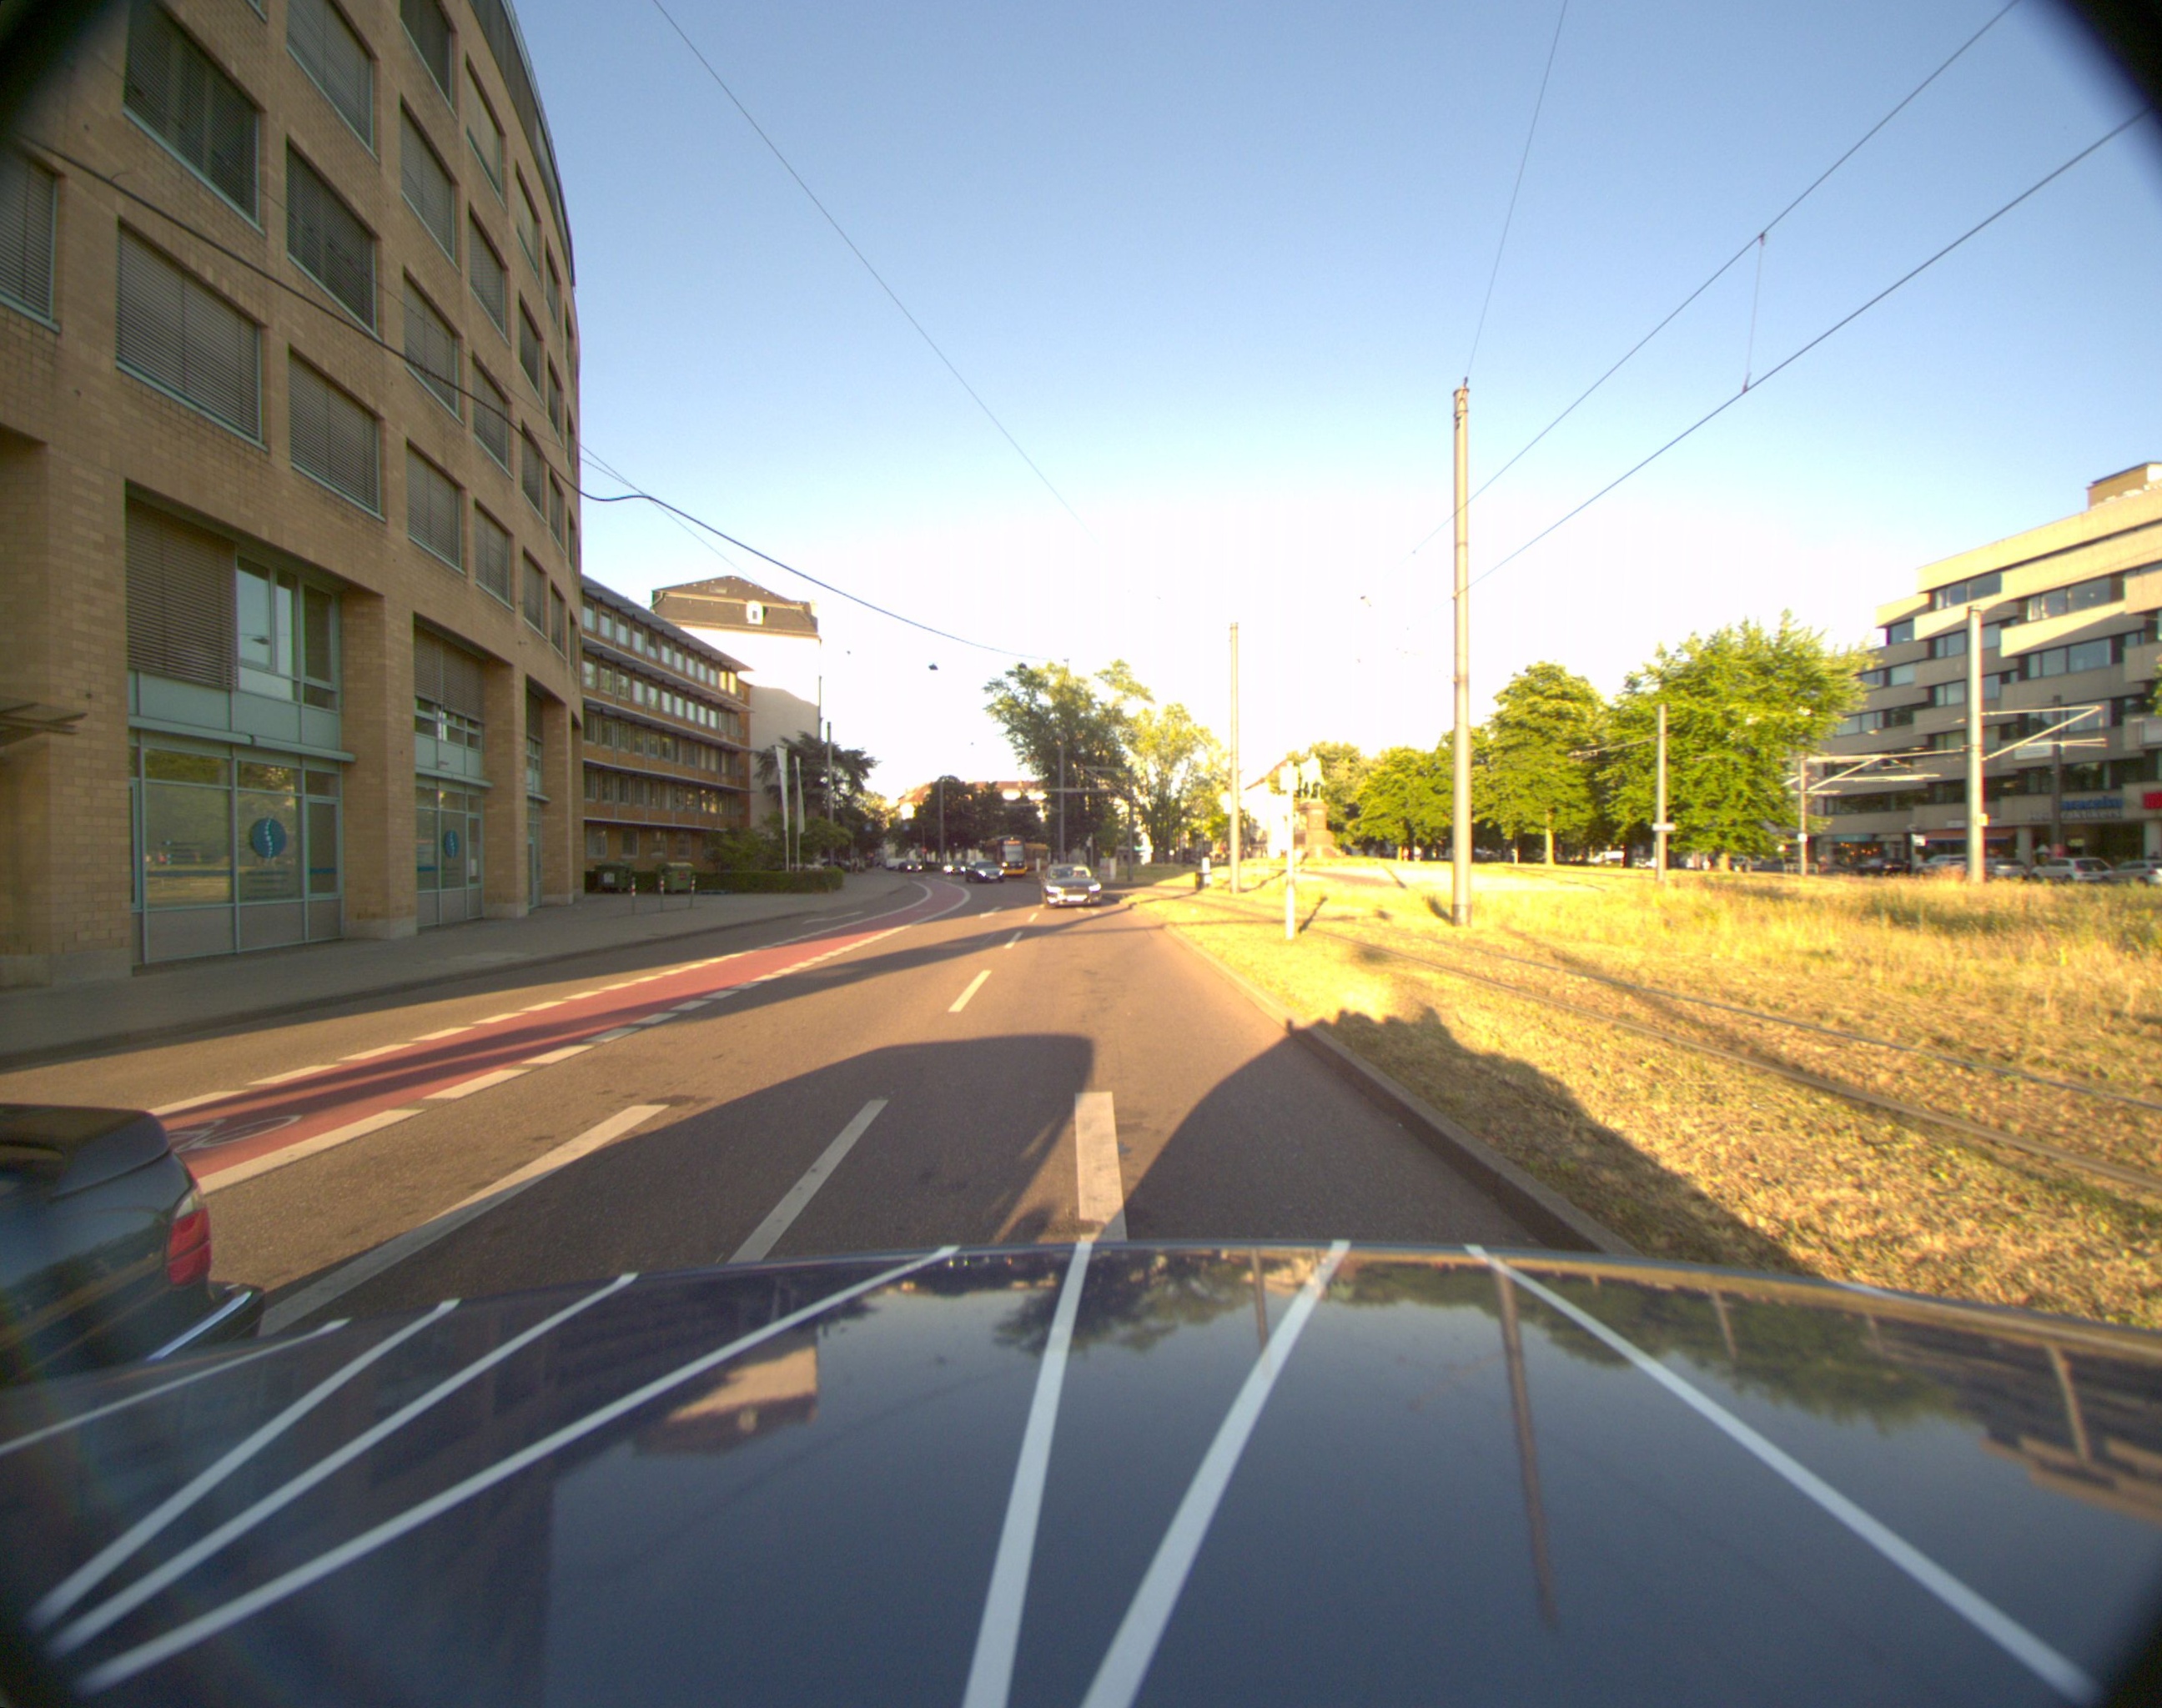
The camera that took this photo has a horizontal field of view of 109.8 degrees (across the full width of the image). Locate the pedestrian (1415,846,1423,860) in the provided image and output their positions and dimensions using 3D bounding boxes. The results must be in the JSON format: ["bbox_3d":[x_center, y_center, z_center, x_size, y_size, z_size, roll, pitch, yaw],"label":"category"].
[{"bbox_3d":[37.572,-0.072,84.397,0.619,1.571,0.553,0,-1,2],"label":"pedestrian"}]

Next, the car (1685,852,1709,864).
[{"bbox_3d":[83.915,0.522,103.541,1.793,1.570,4.008,-1,-1,27],"label":"car"}]

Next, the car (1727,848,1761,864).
[{"bbox_3d":[76.153,0.250,87.285,1.755,1.653,4.007,-1,-1,23],"label":"car"}]

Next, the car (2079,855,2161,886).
[{"bbox_3d":[54.124,0.850,39.068,1.755,1.542,4.008,-1,-1,26],"label":"car"}]

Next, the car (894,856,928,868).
[{"bbox_3d":[-28.244,1.293,126.227,5.078,1.891,2.122,0,-1,2],"label":"car"}]

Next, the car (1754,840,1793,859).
[{"bbox_3d":[72.739,-0.422,79.897,1.755,1.932,4.217,-1,-1,23],"label":"car"}]

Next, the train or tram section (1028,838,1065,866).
[{"bbox_3d":[-4.077,-0.221,93.047,2.923,3.123,12.649,-1,0,5],"label":"train or tram section"}]

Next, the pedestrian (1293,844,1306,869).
[{"bbox_3d":[15.132,0.188,52.568,0.476,1.680,0.835,0,0,-14],"label":"pedestrian"}]

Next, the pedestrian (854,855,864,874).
[{"bbox_3d":[-21.256,0.989,72.739,0.591,1.781,0.822,0,-1,11],"label":"pedestrian"}]

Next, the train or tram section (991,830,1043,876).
[{"bbox_3d":[-5.448,-0.120,67.012,2.947,3.563,13.368,-1,0,2],"label":"train or tram section"}]

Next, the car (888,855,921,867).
[{"bbox_3d":[-29.944,1.196,128.972,5.078,2.010,1.968,0,-1,2],"label":"car"}]

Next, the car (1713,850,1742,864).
[{"bbox_3d":[78.505,0.391,92.272,1.793,1.570,4.008,-1,-1,27],"label":"car"}]

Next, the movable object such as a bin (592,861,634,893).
[{"bbox_3d":[-21.264,1.033,34.556,1.345,1.415,0.923,0,-1,-7],"label":"movable object such as a bin"}]

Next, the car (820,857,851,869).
[{"bbox_3d":[-34.086,1.239,105.543,4.072,1.560,1.835,0,-1,-19],"label":"car"}]

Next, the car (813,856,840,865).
[{"bbox_3d":[-45.623,1.144,136.329,4.404,1.603,1.726,0,-1,-23],"label":"car"}]

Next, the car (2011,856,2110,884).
[{"bbox_3d":[56.330,0.945,43.809,1.755,1.542,4.007,-1,-1,23],"label":"car"}]

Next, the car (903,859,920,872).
[{"bbox_3d":[-20.263,1.364,90.852,1.822,1.473,4.131,-1,-1,-14],"label":"car"}]

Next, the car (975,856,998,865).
[{"bbox_3d":[-17.314,1.193,139.153,4.011,1.714,1.701,0,-1,-1],"label":"car"}]

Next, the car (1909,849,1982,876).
[{"bbox_3d":[61.392,0.623,54.040,1.755,1.784,4.217,-1,-1,23],"label":"car"}]

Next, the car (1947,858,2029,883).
[{"bbox_3d":[58.616,1.054,49.205,1.755,1.542,4.007,-1,-1,23],"label":"car"}]

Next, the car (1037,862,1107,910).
[{"bbox_3d":[-0.403,1.045,25.970,1.821,1.473,4.133,-1,-1,-8],"label":"car"}]

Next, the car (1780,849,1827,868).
[{"bbox_3d":[70.153,0.512,73.864,1.935,1.784,4.217,-1,-1,23],"label":"car"}]

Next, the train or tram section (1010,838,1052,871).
[{"bbox_3d":[-5.075,0.007,80.337,2.929,3.123,12.859,-1,0,3],"label":"train or tram section"}]

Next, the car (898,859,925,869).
[{"bbox_3d":[-27.176,1.604,121.707,4.067,1.542,1.999,0,-1,-6],"label":"car"}]

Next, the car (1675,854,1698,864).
[{"bbox_3d":[87.351,0.739,109.669,1.707,1.382,4.008,-1,-1,24],"label":"car"}]

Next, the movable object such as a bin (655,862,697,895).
[{"bbox_3d":[-18.189,1.086,34.146,0.972,1.429,1.347,0,-1,19],"label":"movable object such as a bin"}]

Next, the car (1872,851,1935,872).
[{"bbox_3d":[64.304,0.616,59.482,1.861,1.547,4.076,-1,-1,23],"label":"car"}]

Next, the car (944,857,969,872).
[{"bbox_3d":[-12.712,1.044,77.409,1.823,1.473,4.129,0,-1,-19],"label":"car"}]

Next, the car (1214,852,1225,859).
[{"bbox_3d":[32.113,0.438,176.163,1.723,1.542,3.968,0,-1,1],"label":"car"}]

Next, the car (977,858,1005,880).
[{"bbox_3d":[-6.125,1.037,52.088,1.821,1.473,4.134,0,-1,-6],"label":"car"}]
